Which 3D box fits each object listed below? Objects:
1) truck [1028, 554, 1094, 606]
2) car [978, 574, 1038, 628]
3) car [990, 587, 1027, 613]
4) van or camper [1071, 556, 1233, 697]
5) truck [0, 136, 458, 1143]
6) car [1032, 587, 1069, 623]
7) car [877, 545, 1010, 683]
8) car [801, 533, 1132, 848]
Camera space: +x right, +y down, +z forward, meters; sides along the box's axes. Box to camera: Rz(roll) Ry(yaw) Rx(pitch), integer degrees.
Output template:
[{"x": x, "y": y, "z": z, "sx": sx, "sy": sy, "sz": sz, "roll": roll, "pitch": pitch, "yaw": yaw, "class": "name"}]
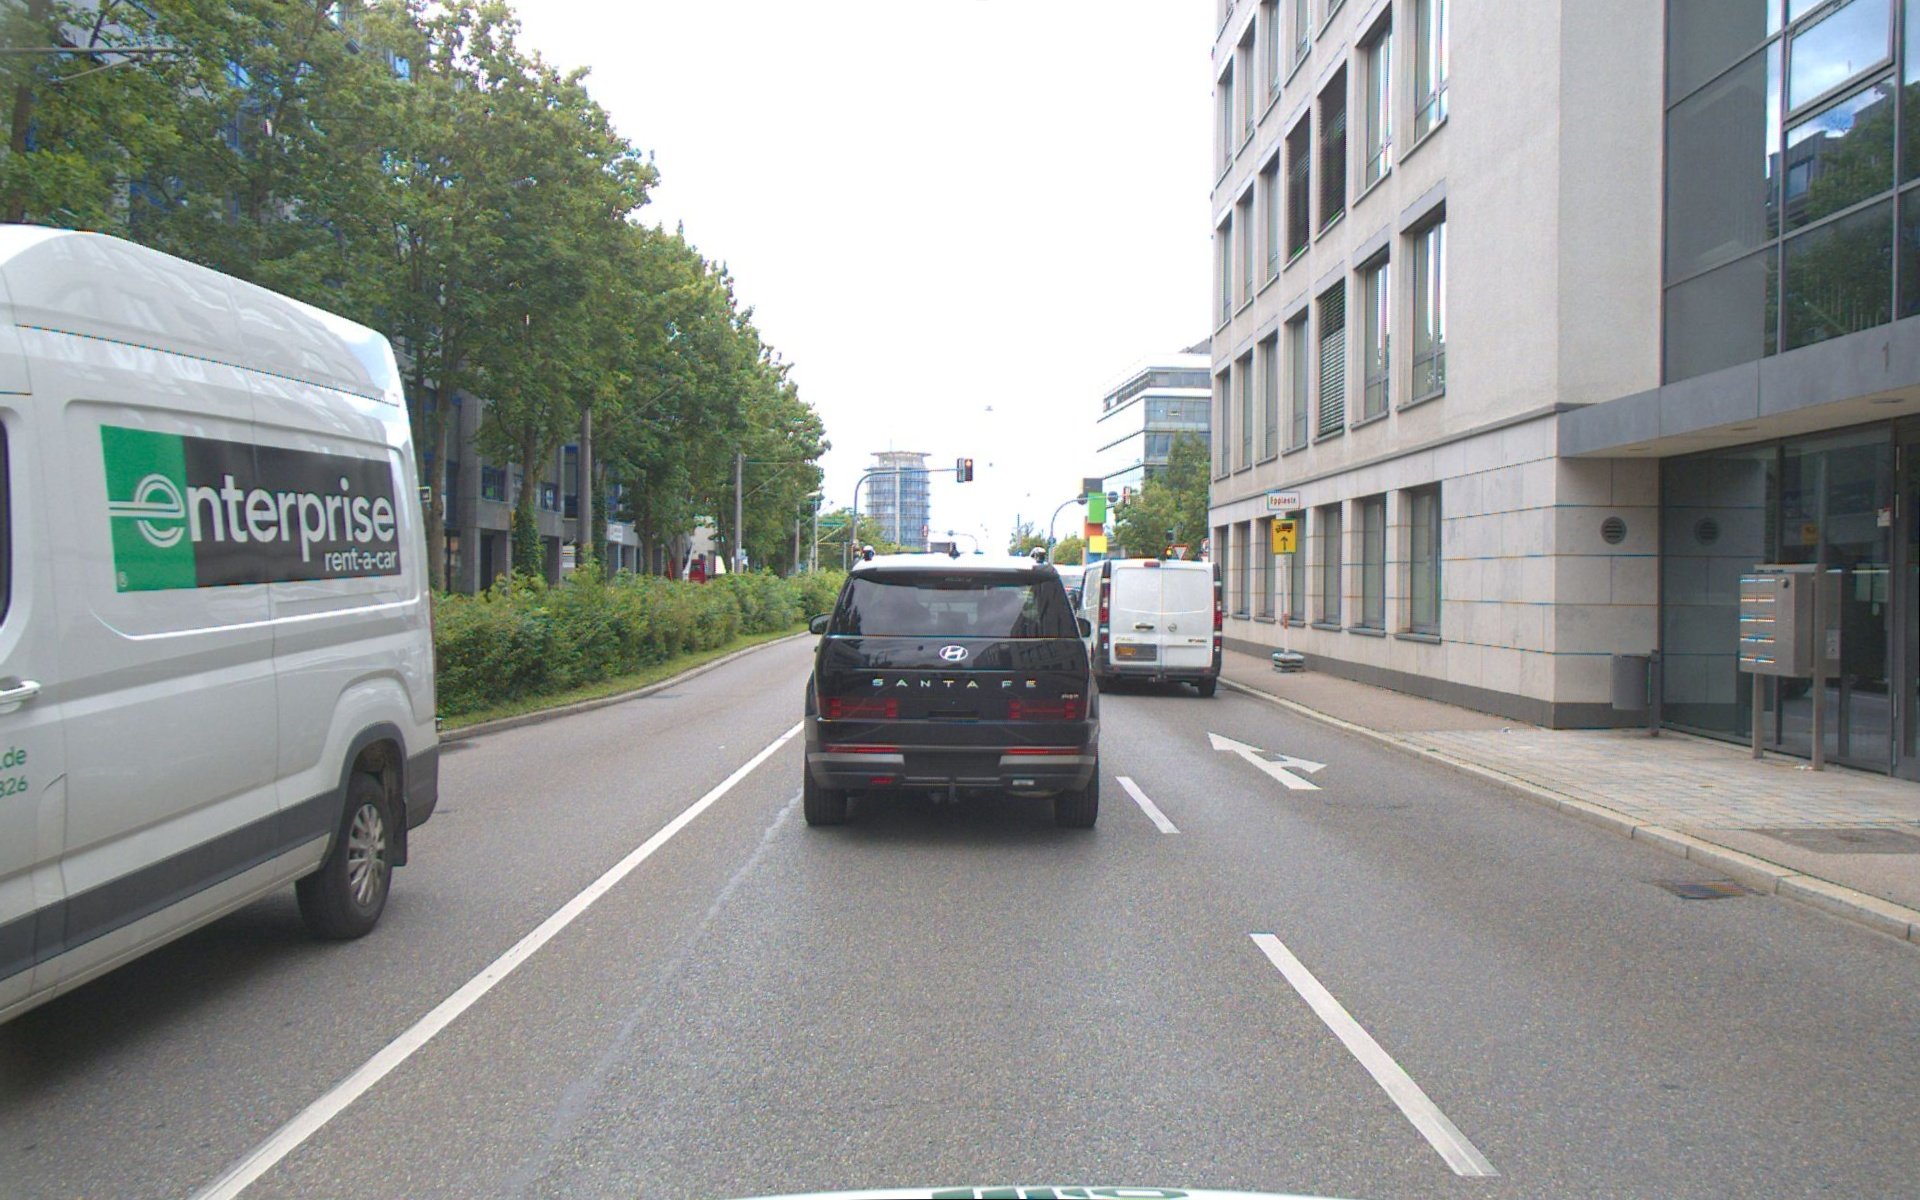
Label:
[{"x": 5.671, "y": -1.119, "z": 93.678, "sx": 2.289, "sy": 2.796, "sz": 6.472, "roll": 0, "pitch": 0, "yaw": -10, "class": "truck"}, {"x": 1.655, "y": 0.007, "z": 58.199, "sx": 1.953, "sy": 1.821, "sz": 4.000, "roll": 1, "pitch": 0, "yaw": 0, "class": "car"}, {"x": 3.047, "y": -0.006, "z": 105.206, "sx": 1.954, "sy": 1.647, "sz": 3.997, "roll": 0, "pitch": 0, "yaw": -4, "class": "car"}, {"x": 2.866, "y": 0.356, "z": 25.574, "sx": 1.953, "sy": 1.949, "sz": 4.331, "roll": 1, "pitch": 0, "yaw": 0, "class": "van or camper"}, {"x": -3.596, "y": 0.094, "z": 5.433, "sx": 2.121, "sy": 2.661, "sz": 5.796, "roll": 0, "pitch": 0, "yaw": 0, "class": "truck"}, {"x": 4.348, "y": 0.215, "z": 79.561, "sx": 1.723, "sy": 1.637, "sz": 4.189, "roll": 0, "pitch": 0, "yaw": 3, "class": "car"}, {"x": -0.355, "y": 0.189, "z": 26.657, "sx": 1.893, "sy": 2.029, "sz": 4.532, "roll": 0, "pitch": 0, "yaw": -4, "class": "car"}, {"x": -0.079, "y": 0.514, "z": 11.606, "sx": 1.871, "sy": 1.780, "sz": 4.394, "roll": 1, "pitch": 0, "yaw": -3, "class": "car"}]
